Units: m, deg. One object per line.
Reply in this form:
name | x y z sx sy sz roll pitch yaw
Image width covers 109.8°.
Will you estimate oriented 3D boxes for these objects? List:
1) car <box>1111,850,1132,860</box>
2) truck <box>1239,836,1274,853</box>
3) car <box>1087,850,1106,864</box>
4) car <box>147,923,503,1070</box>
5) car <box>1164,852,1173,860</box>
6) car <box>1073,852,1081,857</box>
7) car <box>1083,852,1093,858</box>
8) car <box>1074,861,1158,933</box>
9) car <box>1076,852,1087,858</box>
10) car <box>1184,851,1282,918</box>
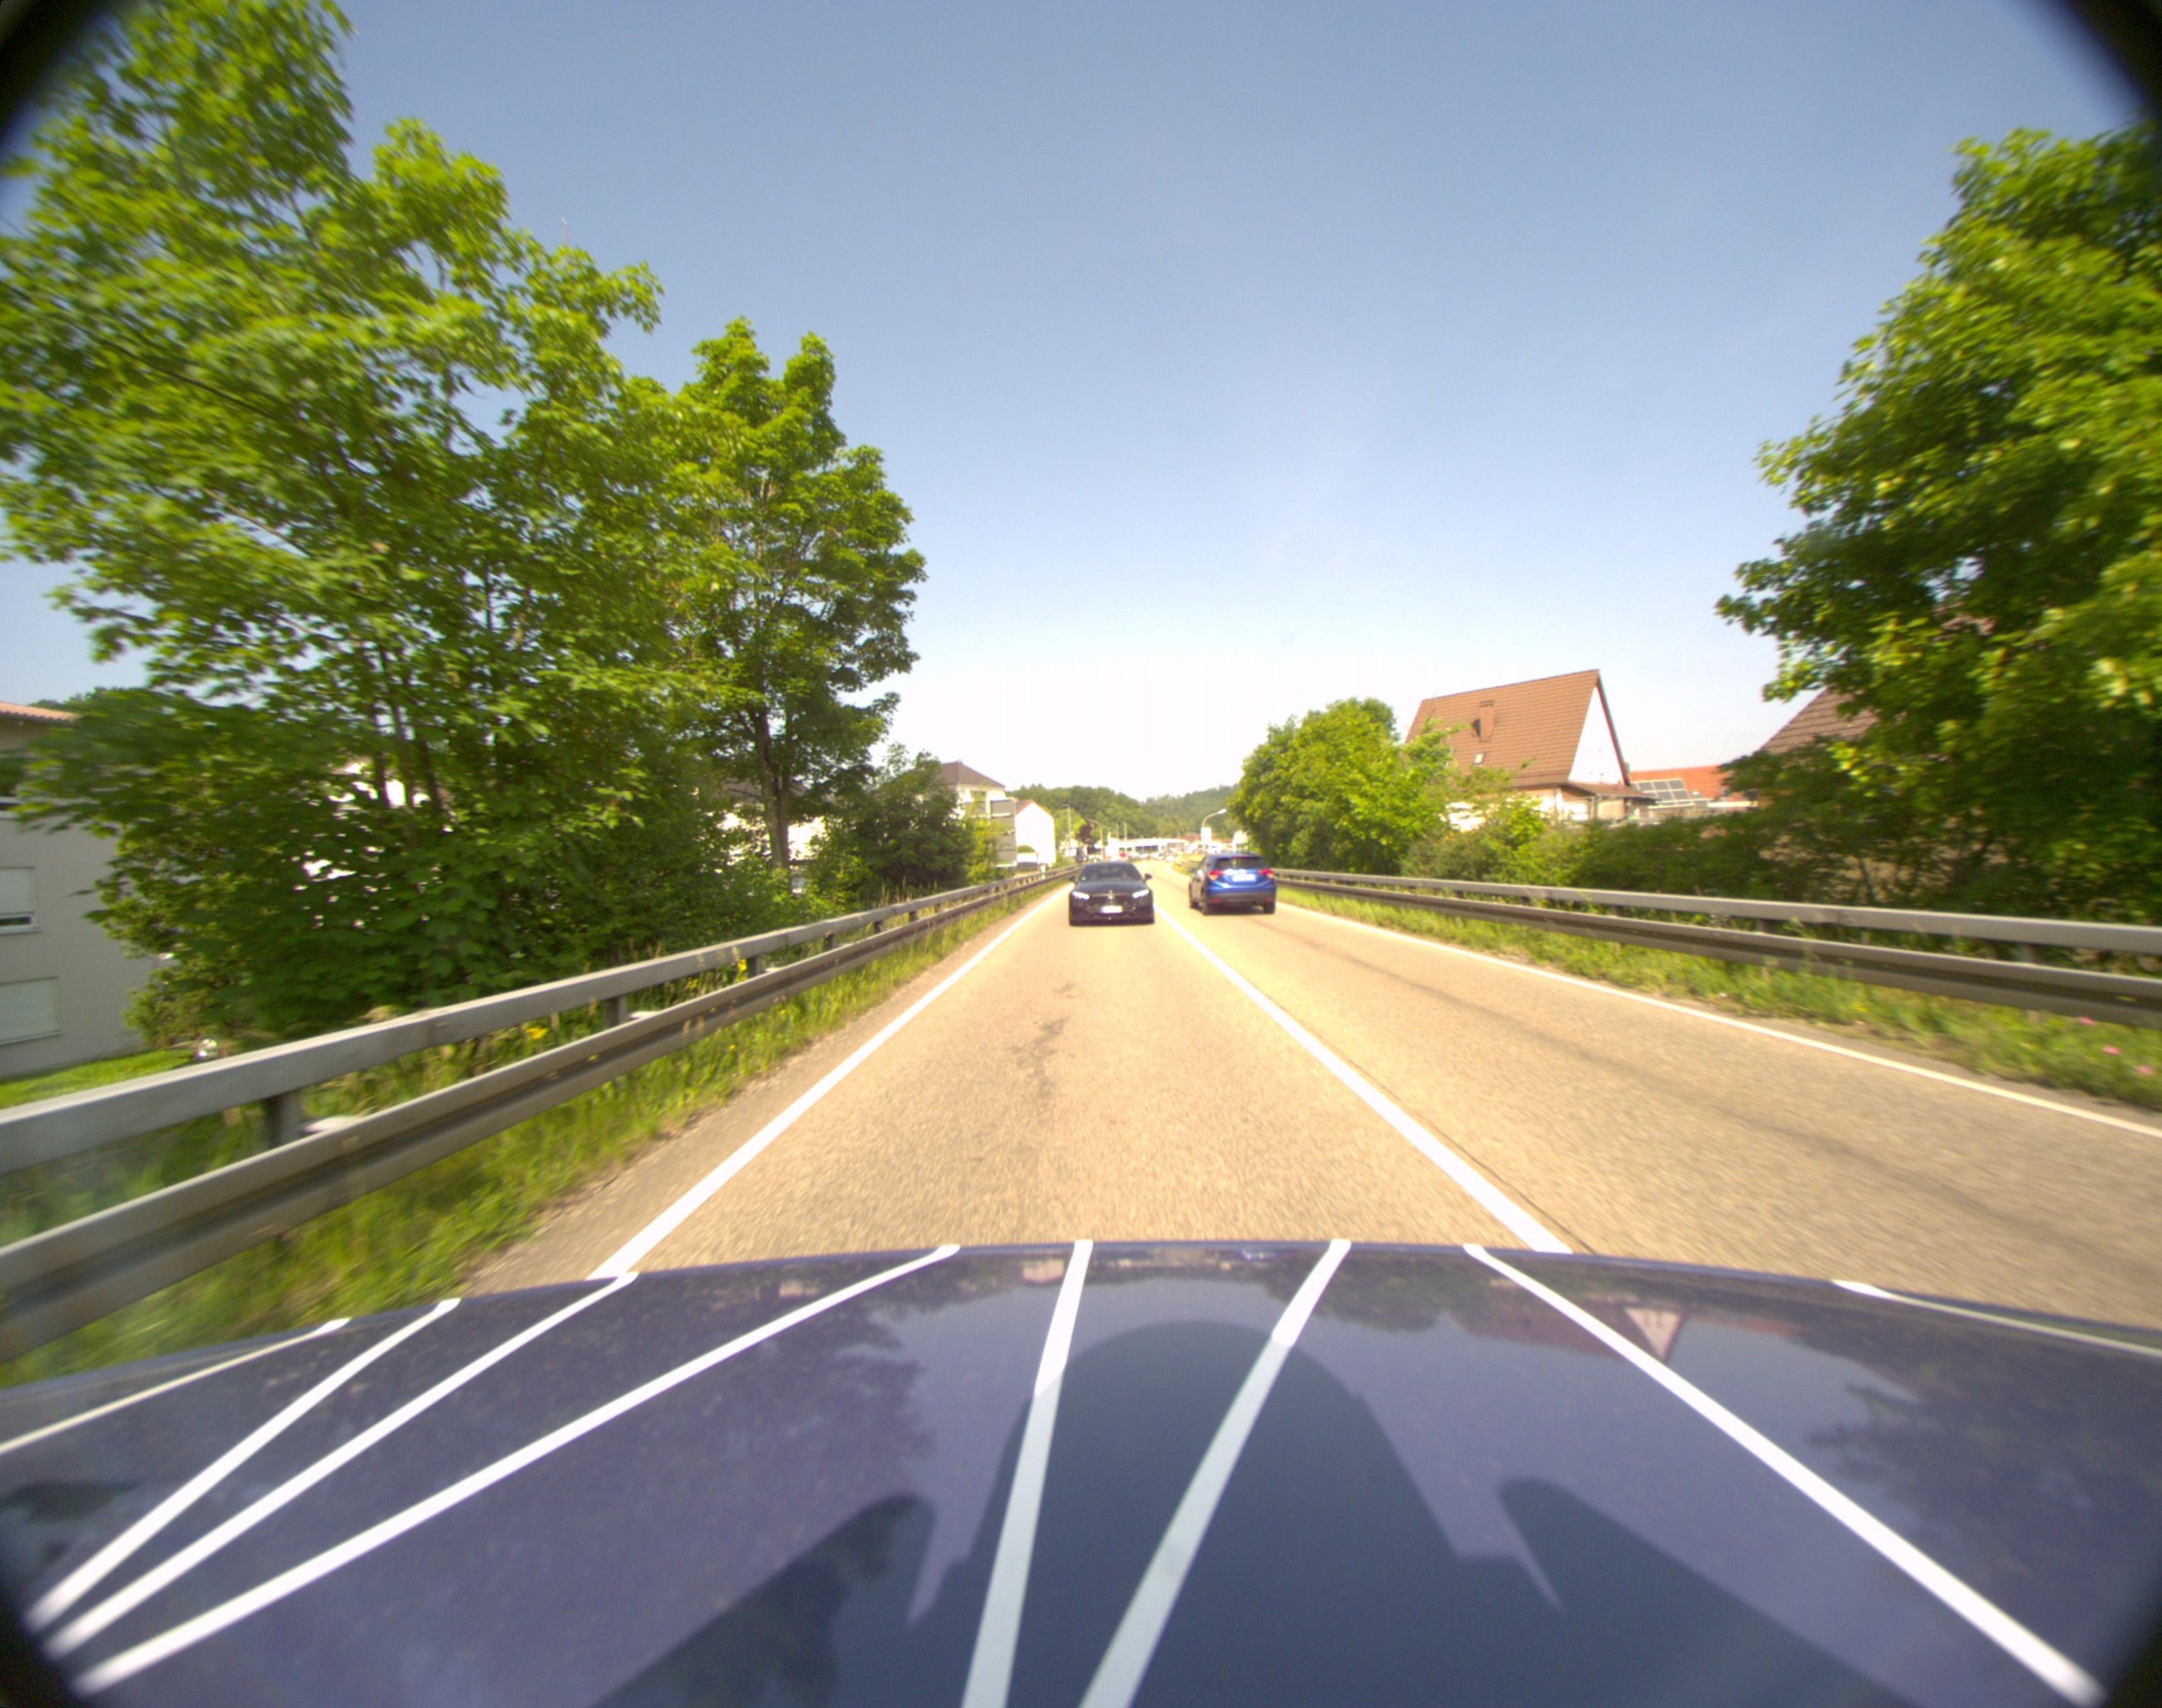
car | 8.043 0.184 151.620 3.996 1.441 1.765 -6 1 2
truck | 40.986 -2.263 177.447 8.225 3.536 2.800 -3 1 -34
car | 2.292 0.457 112.424 1.997 1.933 5.365 -2 0 9
car | -17.867 3.331 18.218 6.087 2.673 2.312 -3 4 3
car | 16.685 0.359 144.986 1.762 1.402 3.990 -1 1 5
car | -1.122 0.166 194.374 1.594 1.179 3.659 -2 1 -8
car | 1.688 0.253 179.585 1.656 1.359 3.659 -2 1 -8
car | 0.744 0.944 18.511 1.716 1.382 4.145 -1 1 -2
car | 0.073 0.150 187.886 1.914 1.397 4.521 -2 1 -8
car | 3.906 0.729 20.112 1.812 1.552 3.992 -1 1 0
